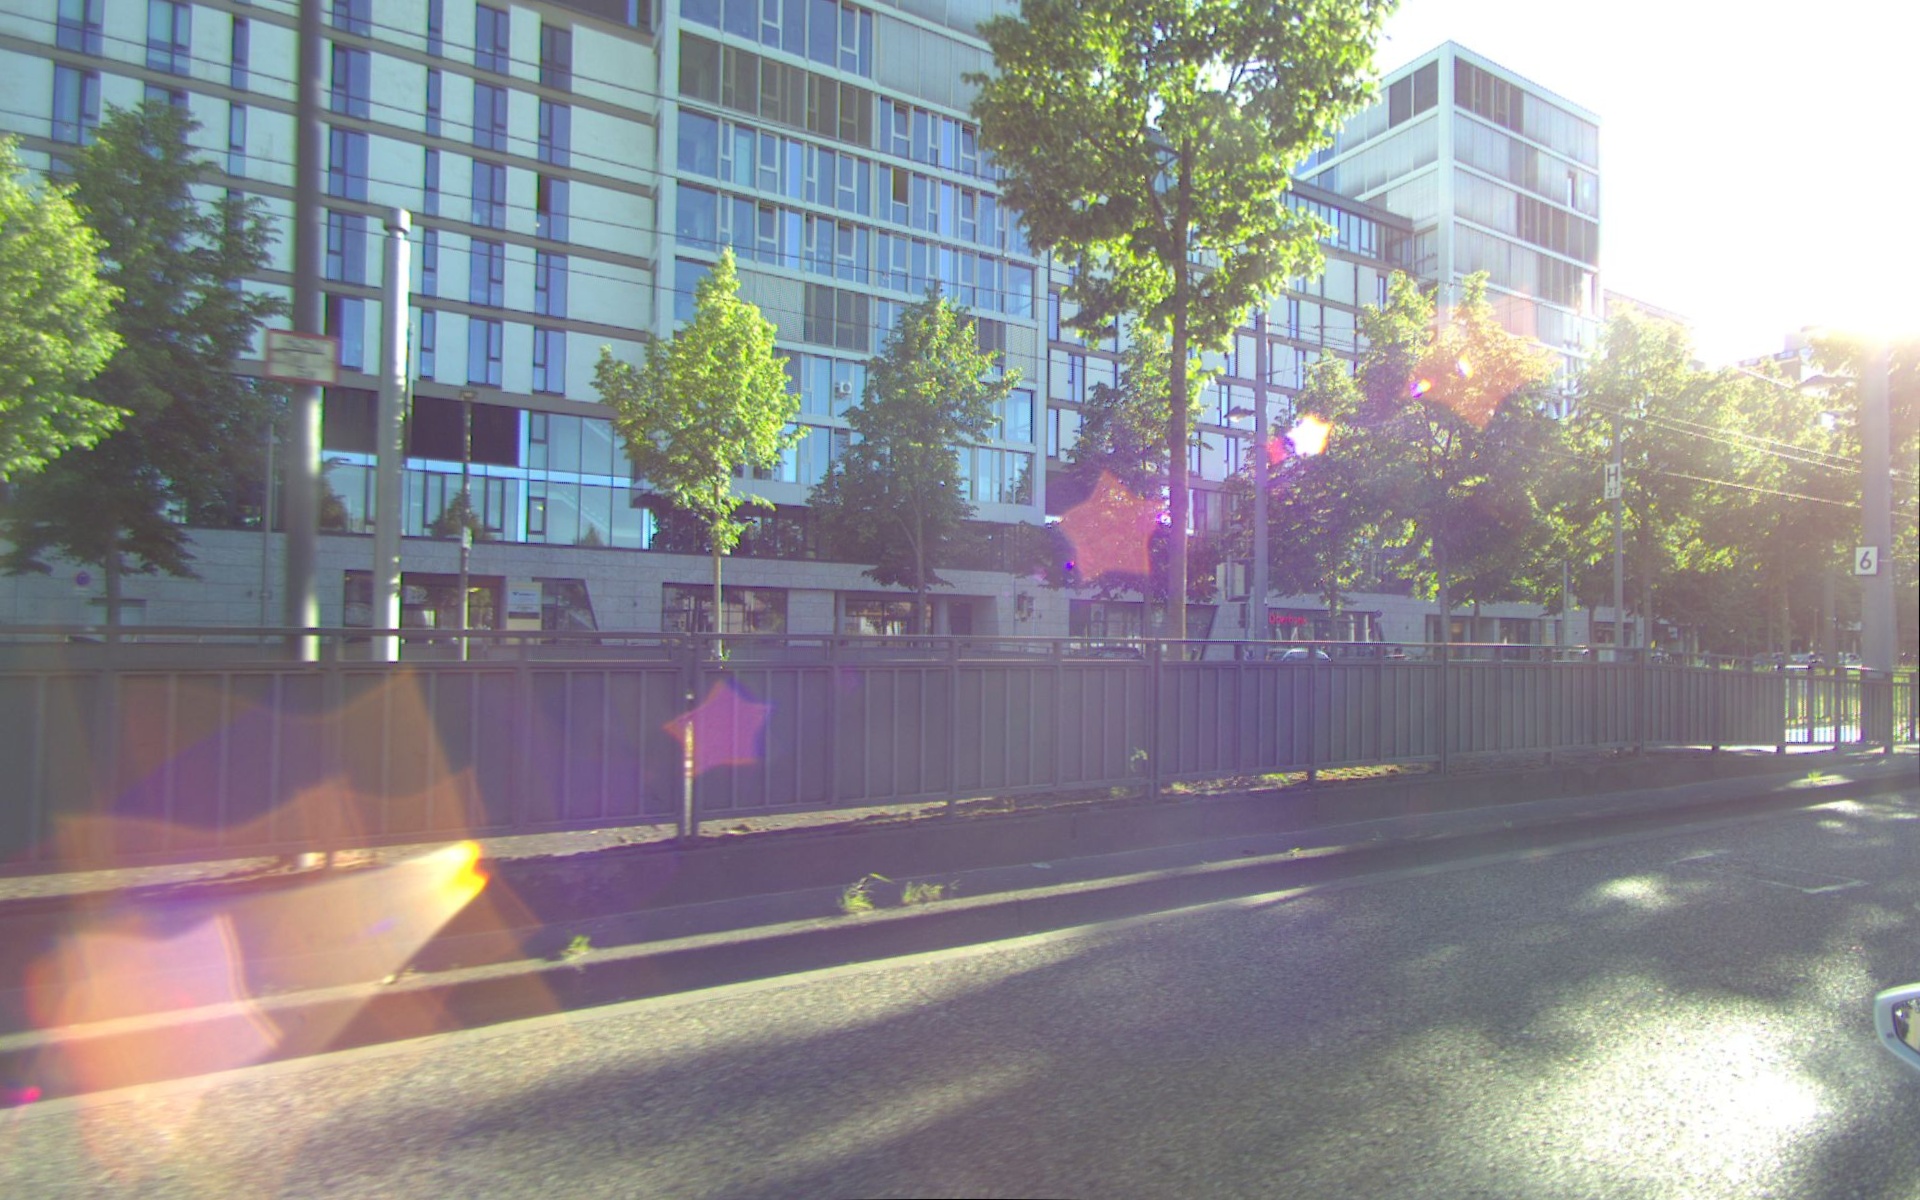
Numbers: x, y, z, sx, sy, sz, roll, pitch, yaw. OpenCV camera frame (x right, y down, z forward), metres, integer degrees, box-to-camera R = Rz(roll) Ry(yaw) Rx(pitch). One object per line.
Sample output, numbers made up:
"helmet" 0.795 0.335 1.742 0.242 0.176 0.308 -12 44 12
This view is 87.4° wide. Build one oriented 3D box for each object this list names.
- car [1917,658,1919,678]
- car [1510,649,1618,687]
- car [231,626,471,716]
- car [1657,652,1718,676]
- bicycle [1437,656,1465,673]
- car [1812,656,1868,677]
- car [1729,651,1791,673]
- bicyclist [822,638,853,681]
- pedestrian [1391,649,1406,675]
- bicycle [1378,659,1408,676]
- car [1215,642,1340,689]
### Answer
"car" 60.317 4.166 61.304 3.442 1.254 1.762 2 -3 -29
"car" 24.059 2.669 39.967 4.457 1.422 1.810 2 -3 -31
"car" -11.284 1.300 18.852 3.657 1.540 1.671 2 -3 -30
"car" 44.700 3.916 61.726 3.710 1.372 1.725 2 -3 -30
"bicycle" 30.115 3.939 61.568 1.960 0.985 0.539 4 -3 -30
"car" 63.910 4.845 72.960 4.491 1.438 1.707 2 -2 -30
"car" 53.859 4.177 67.622 4.491 1.438 1.708 2 -3 -30
"bicyclist" -4.295 2.079 35.198 0.821 1.483 0.717 2 -2 -28
"pedestrian" 25.343 3.586 58.031 0.682 1.431 0.406 4 -3 -30
"bicycle" 25.236 3.938 58.524 1.991 0.892 0.539 3 -2 -30
"car" 11.118 2.298 35.149 4.284 1.422 1.752 4 -3 -30
